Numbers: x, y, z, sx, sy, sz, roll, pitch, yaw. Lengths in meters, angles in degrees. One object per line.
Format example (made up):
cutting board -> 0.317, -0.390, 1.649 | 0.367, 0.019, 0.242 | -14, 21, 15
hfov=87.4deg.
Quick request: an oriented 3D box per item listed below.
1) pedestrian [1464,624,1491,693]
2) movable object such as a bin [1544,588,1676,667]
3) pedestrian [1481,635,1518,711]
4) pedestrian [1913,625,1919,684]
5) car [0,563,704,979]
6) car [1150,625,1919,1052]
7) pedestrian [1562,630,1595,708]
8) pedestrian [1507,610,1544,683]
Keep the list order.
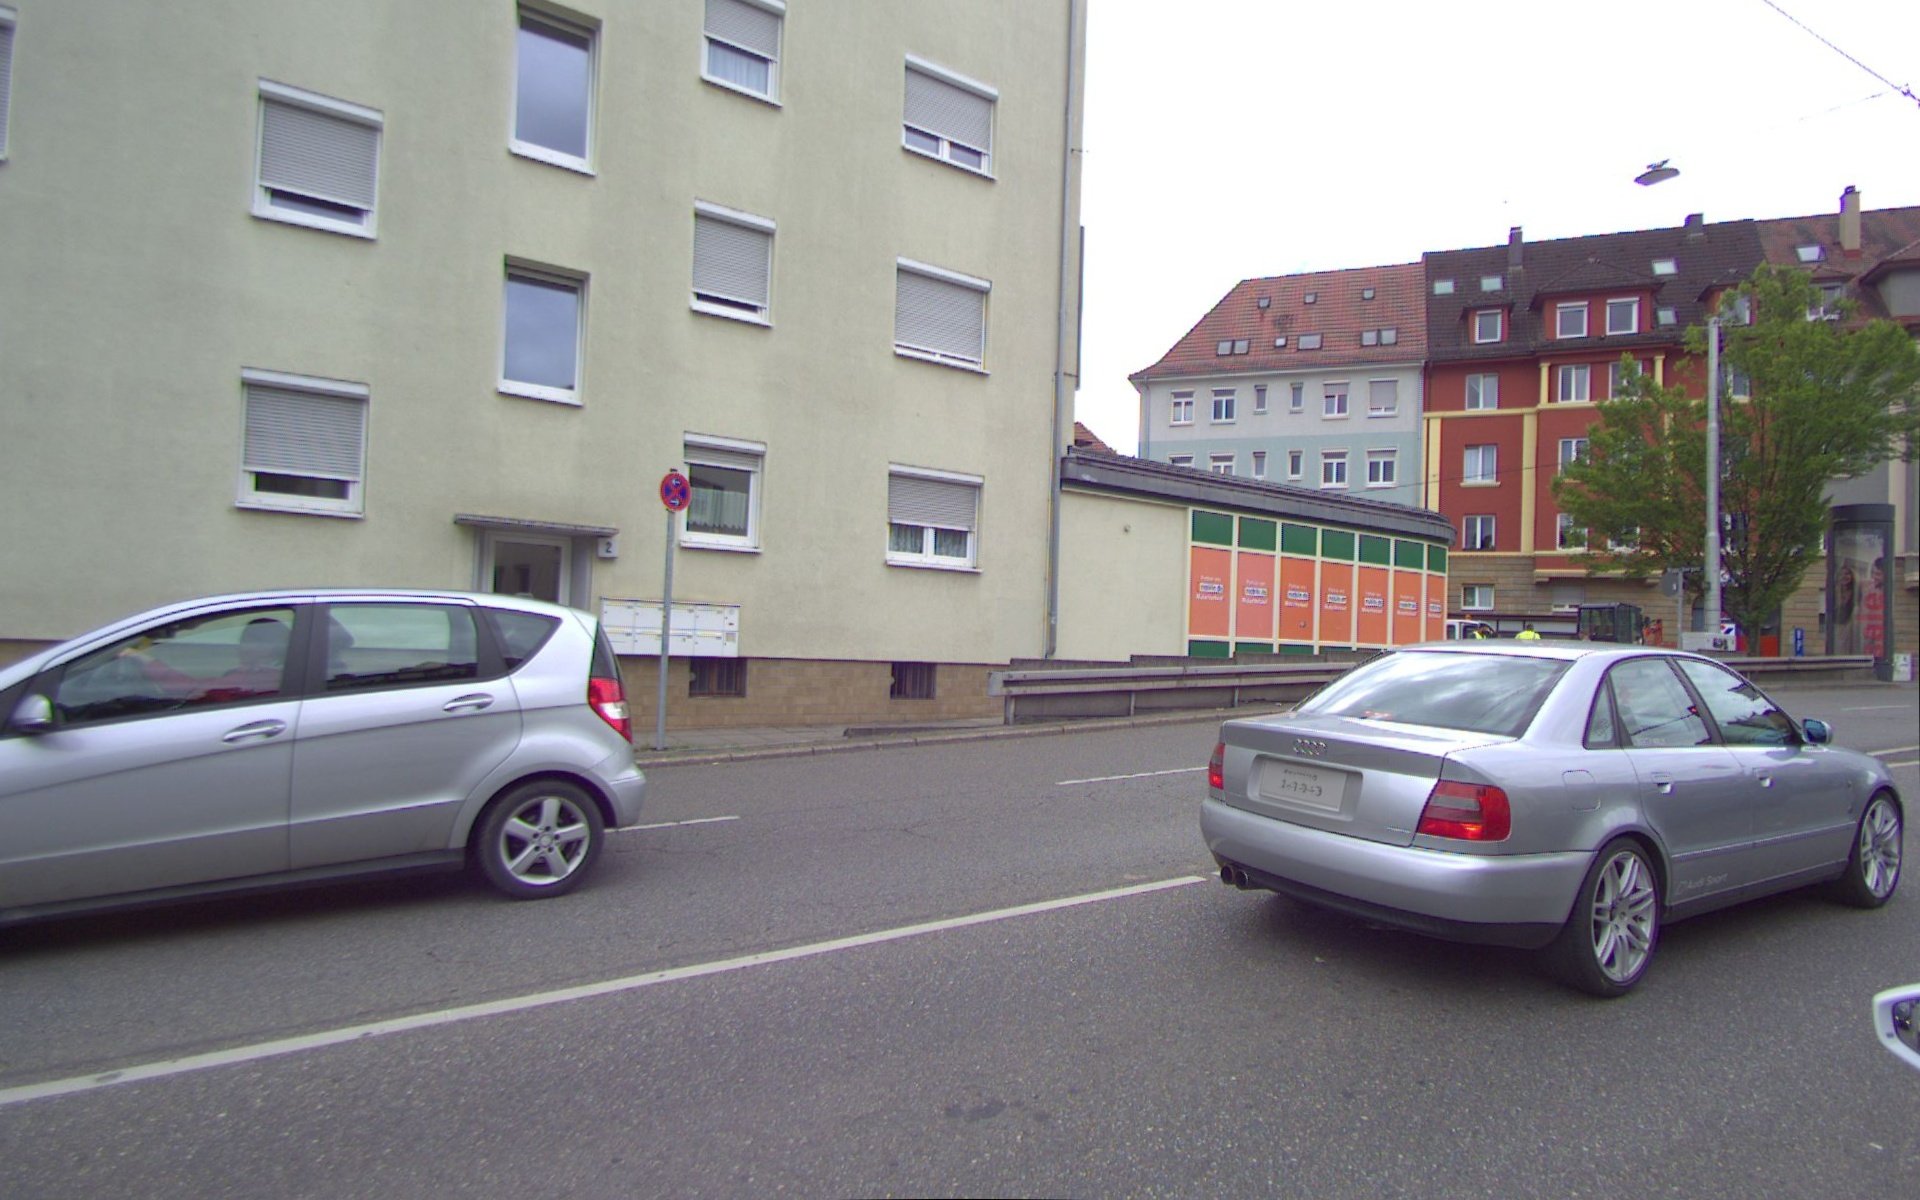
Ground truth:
pedestrian -> 13.603, 1.521, 26.413 | 0.467, 1.753, 0.543 | 2, 1, 14
movable object such as a bin -> 16.589, 0.673, 25.572 | 3.972, 1.795, 1.884 | 2, 1, -43
pedestrian -> 12.671, 1.709, 23.595 | 0.539, 1.722, 0.557 | 1, 1, -41
pedestrian -> 26.120, 1.489, 26.993 | 0.480, 1.588, 0.586 | 2, 1, -30
car -> -3.528, 0.696, 5.133 | 3.957, 1.639, 1.699 | 2, -1, -33
car -> 3.122, 0.859, 5.210 | 4.128, 1.391, 1.688 | 0, 0, -30
pedestrian -> 14.369, 1.588, 23.357 | 0.533, 1.753, 0.593 | 3, 1, 26
pedestrian -> 14.194, 1.147, 25.198 | 0.613, 1.785, 0.566 | 1, 1, -40
